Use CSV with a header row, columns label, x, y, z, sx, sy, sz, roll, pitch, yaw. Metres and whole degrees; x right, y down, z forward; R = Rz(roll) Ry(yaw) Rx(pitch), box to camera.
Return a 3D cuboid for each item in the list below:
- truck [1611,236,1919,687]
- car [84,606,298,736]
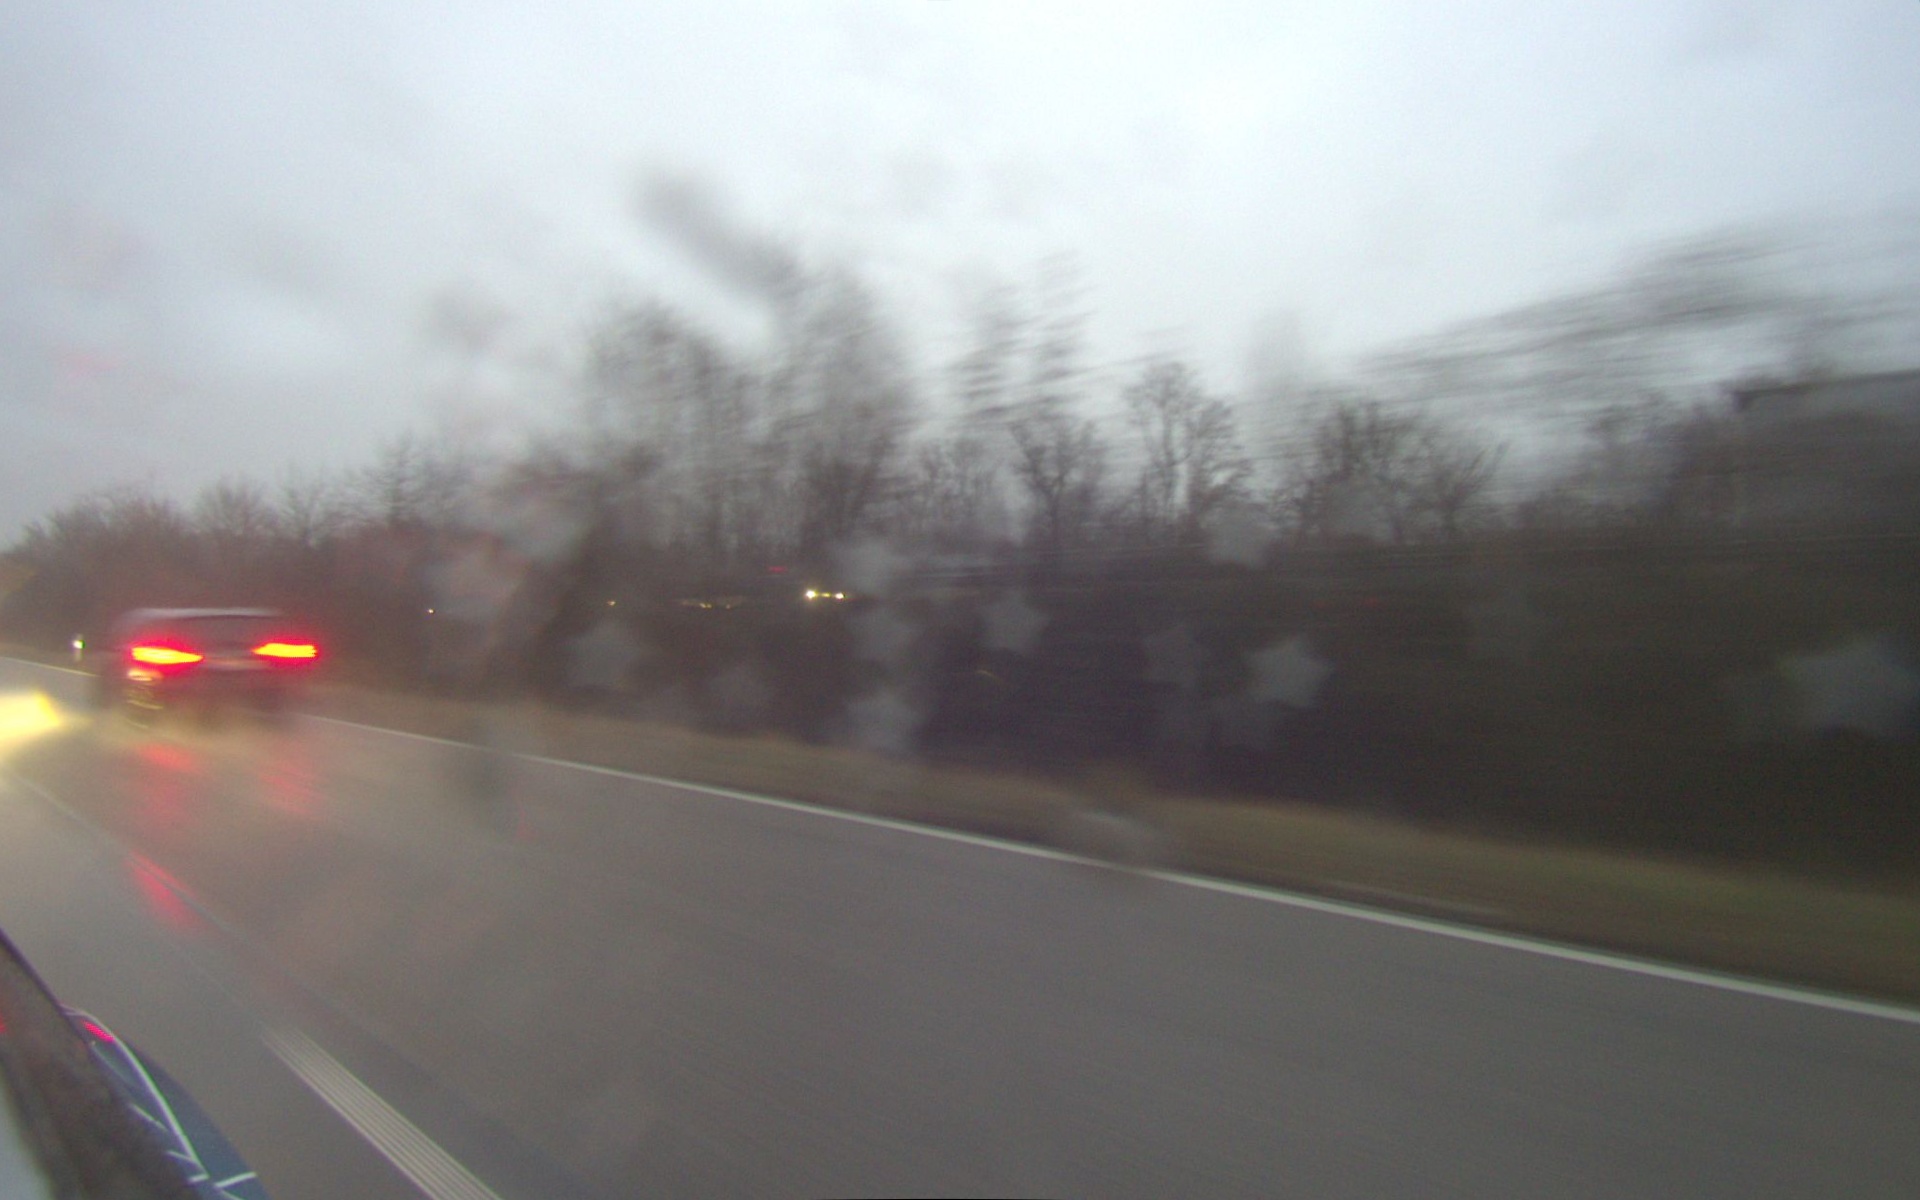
label,x,y,z,sx,sy,sz,roll,pitch,yaw
truck,30.678,-2.575,10.019,40.130,7.771,7.465,-1,0,41
car,-11.283,0.933,14.742,4.210,1.626,1.717,-2,-1,42
